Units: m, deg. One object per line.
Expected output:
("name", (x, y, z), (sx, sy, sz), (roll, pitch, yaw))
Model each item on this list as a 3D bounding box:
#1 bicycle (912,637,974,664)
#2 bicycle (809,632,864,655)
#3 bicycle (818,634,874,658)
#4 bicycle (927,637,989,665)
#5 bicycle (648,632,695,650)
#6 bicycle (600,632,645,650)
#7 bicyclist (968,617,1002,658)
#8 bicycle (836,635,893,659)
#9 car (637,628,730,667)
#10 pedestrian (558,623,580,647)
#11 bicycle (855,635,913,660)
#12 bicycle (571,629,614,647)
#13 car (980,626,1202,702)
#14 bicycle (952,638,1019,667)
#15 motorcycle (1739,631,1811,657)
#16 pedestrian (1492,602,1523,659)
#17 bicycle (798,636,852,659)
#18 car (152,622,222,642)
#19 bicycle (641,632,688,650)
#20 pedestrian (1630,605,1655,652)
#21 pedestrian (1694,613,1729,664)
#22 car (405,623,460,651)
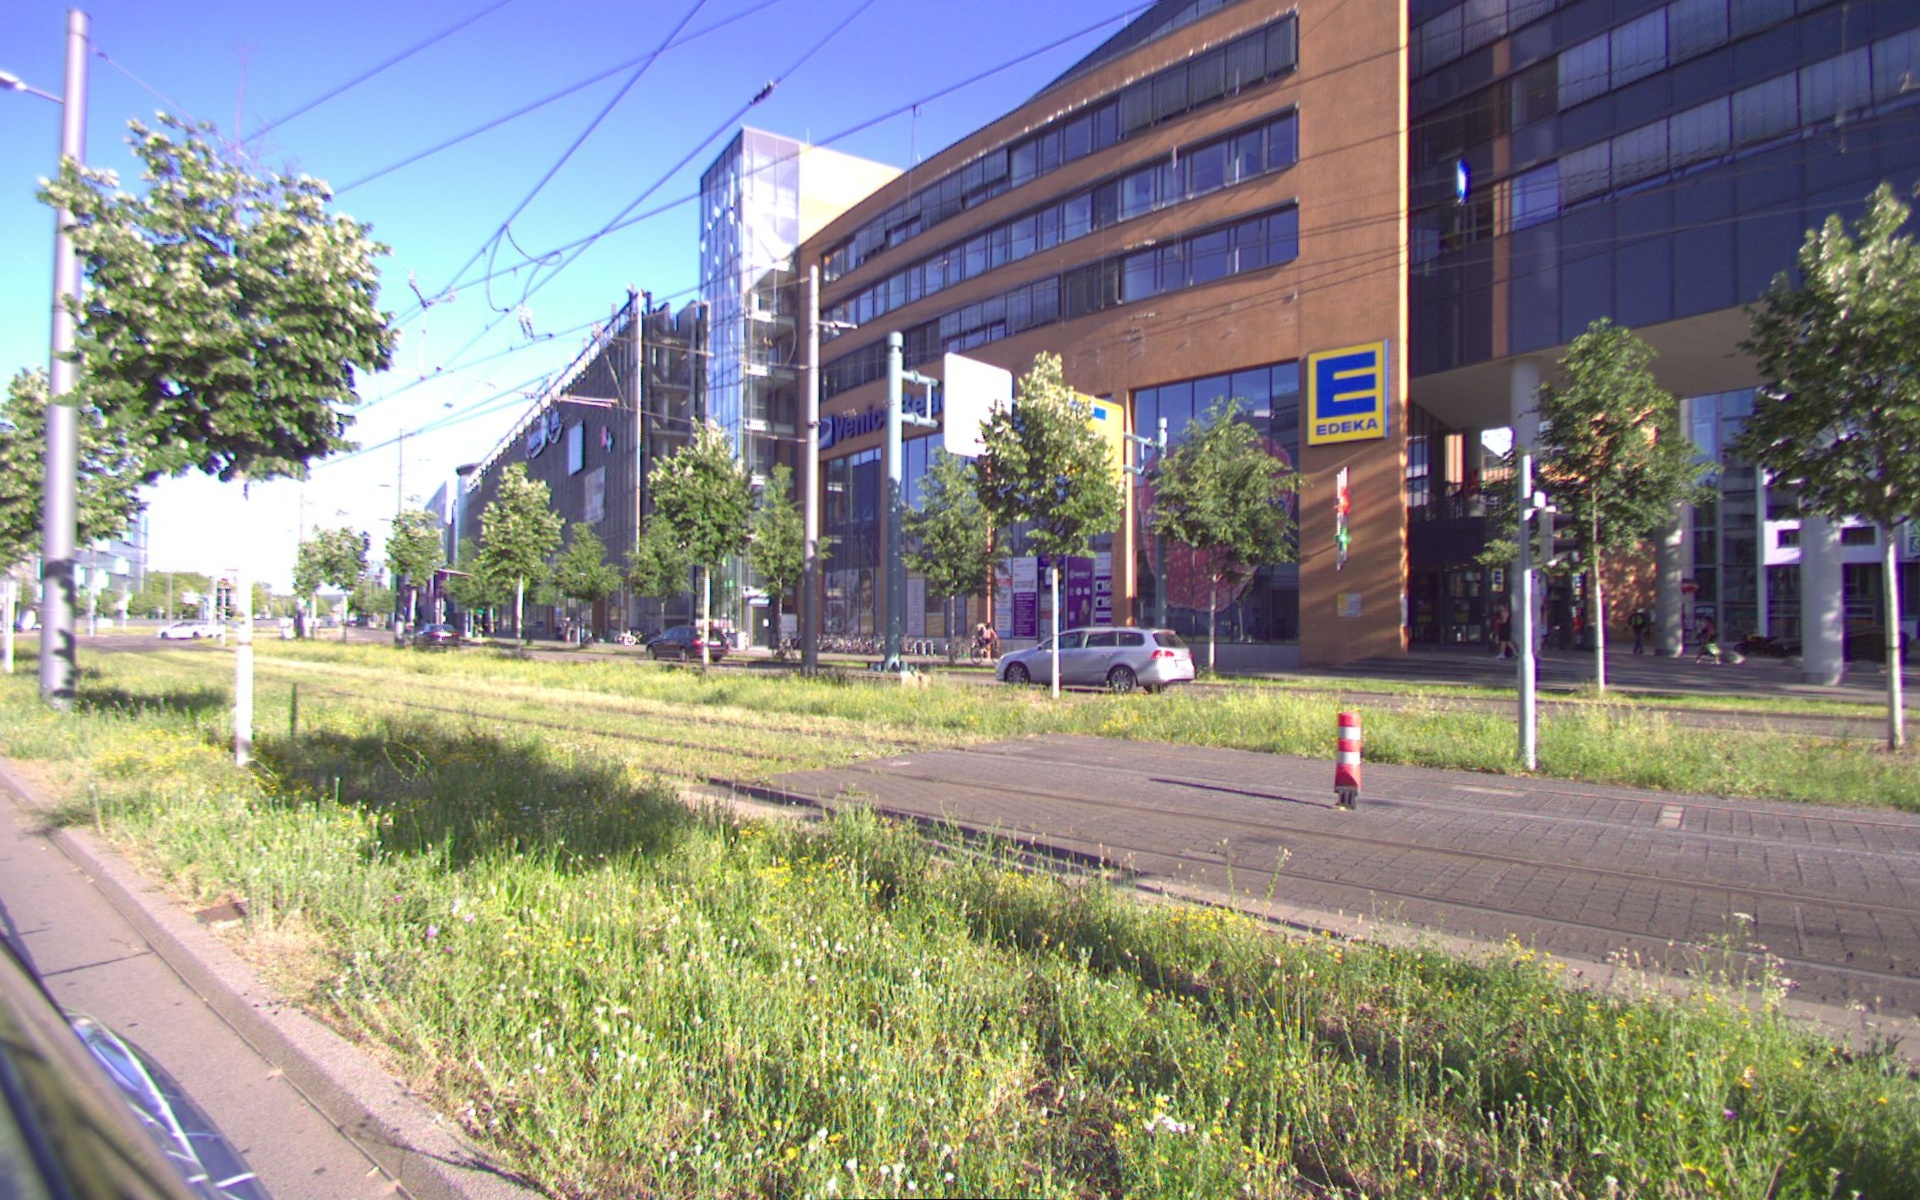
("bicycle", (-0.720, 2.162, 43.419), (2.648, 1.112, 0.897), (1, -3, -39))
("bicycle", (-6.153, 2.184, 50.597), (2.648, 1.112, 0.897), (1, -3, -39))
("bicycle", (-5.550, 2.229, 49.408), (2.648, 1.112, 0.897), (1, -3, -39))
("bicycle", (-0.067, 2.127, 42.600), (2.648, 1.112, 0.897), (1, -3, -39))
("bicycle", (-17.470, 2.480, 61.311), (2.648, 1.112, 0.827), (1, -3, -39))
("bicycle", (-21.985, 2.678, 66.031), (2.648, 1.112, 0.897), (1, -3, -39))
("bicyclist", (0.972, 1.452, 39.186), (0.939, 1.560, 0.883), (-2, -3, 41))
("bicycle", (-4.517, 2.215, 48.091), (2.648, 1.112, 0.897), (1, -3, -39))
("car", (-11.483, 1.928, 41.835), (4.354, 1.539, 1.605), (-1, -3, 42))
("pedestrian", (-27.724, 2.464, 71.759), (1.093, 1.694, 1.059), (-1, -2, 35))
("bicycle", (-3.547, 2.203, 47.165), (2.648, 1.112, 0.897), (1, -3, -39))
("bicycle", (-25.571, 2.637, 70.500), (2.648, 1.198, 0.897), (1, -3, -39))
("car", (2.857, 1.351, 22.733), (4.794, 1.539, 1.607), (-1, -2, 37))
("bicycle", (0.968, 2.019, 39.158), (2.691, 1.112, 0.883), (-2, -3, 42))
("motorcycle", (35.698, 1.909, 44.374), (0.819, 1.066, 2.347), (1, -2, -40))
("pedestrian", (16.764, 0.936, 31.002), (0.698, 1.718, 0.724), (-1, -2, 40))
("bicycle", (-6.880, 2.392, 51.526), (2.648, 1.112, 0.897), (1, -3, -39))
("car", (-59.568, 2.468, 78.036), (4.302, 1.539, 1.675), (0, -2, 6))
("bicycle", (-18.085, 2.492, 61.995), (2.648, 1.112, 0.897), (1, -3, -39))
("pedestrian", (25.543, 1.070, 37.872), (0.698, 1.718, 0.724), (-1, -2, 40))
("pedestrian", (24.742, 1.254, 33.325), (0.688, 1.635, 0.735), (1, -2, -37))
("car", (-30.958, 2.164, 59.360), (4.357, 1.539, 1.603), (-2, -3, 45))
